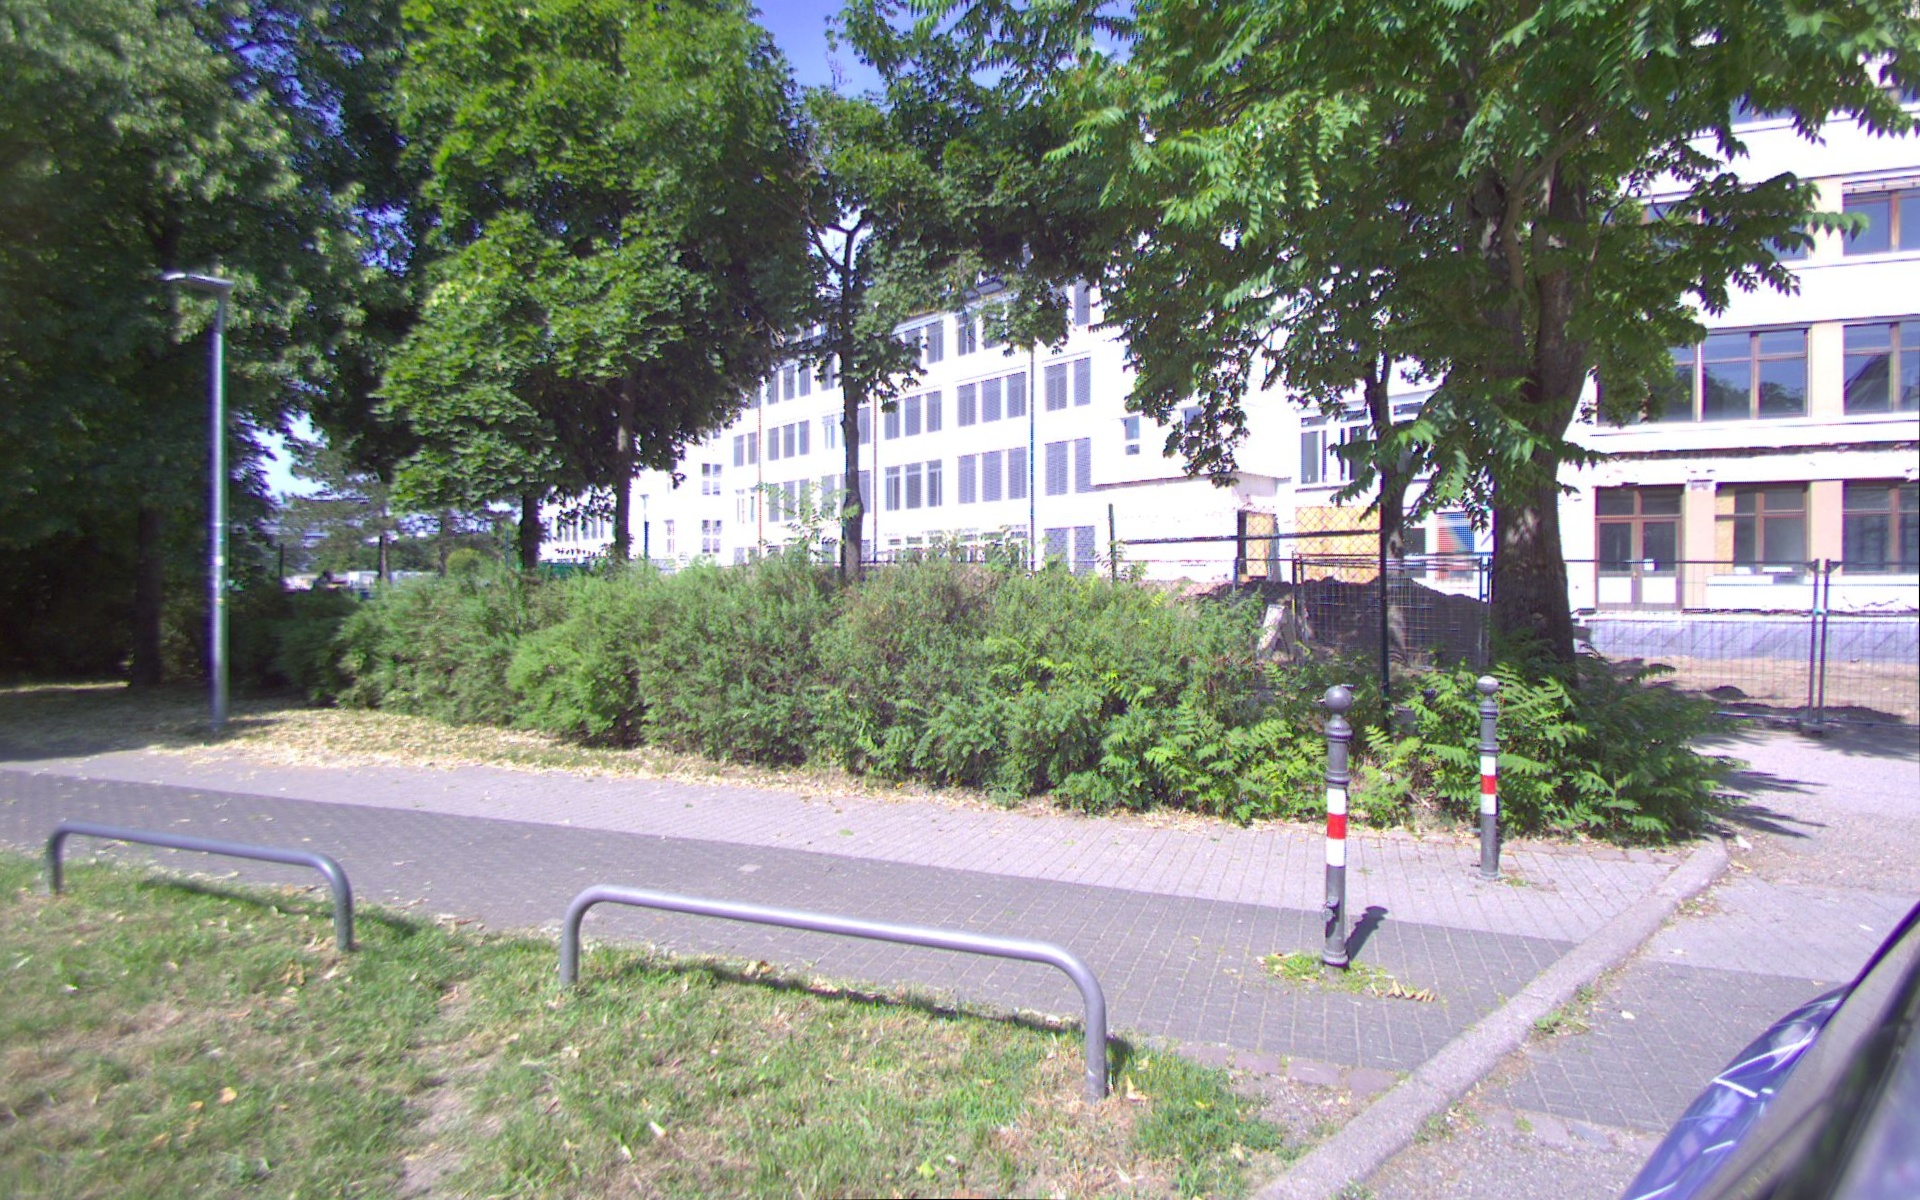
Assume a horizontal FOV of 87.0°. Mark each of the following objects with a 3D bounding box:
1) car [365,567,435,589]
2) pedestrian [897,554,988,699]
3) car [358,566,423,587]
[{"bbox_3d":[-43.427,-1.692,78.522,4.499,1.622,1.549,-1,1,-41],"label":"car"},{"bbox_3d":[-0.225,0.310,12.796,0.850,1.749,0.746,1,1,40],"label":"pedestrian"},{"bbox_3d":[-45.094,-1.868,80.122,4.289,1.622,1.549,-1,1,-41],"label":"car"}]
